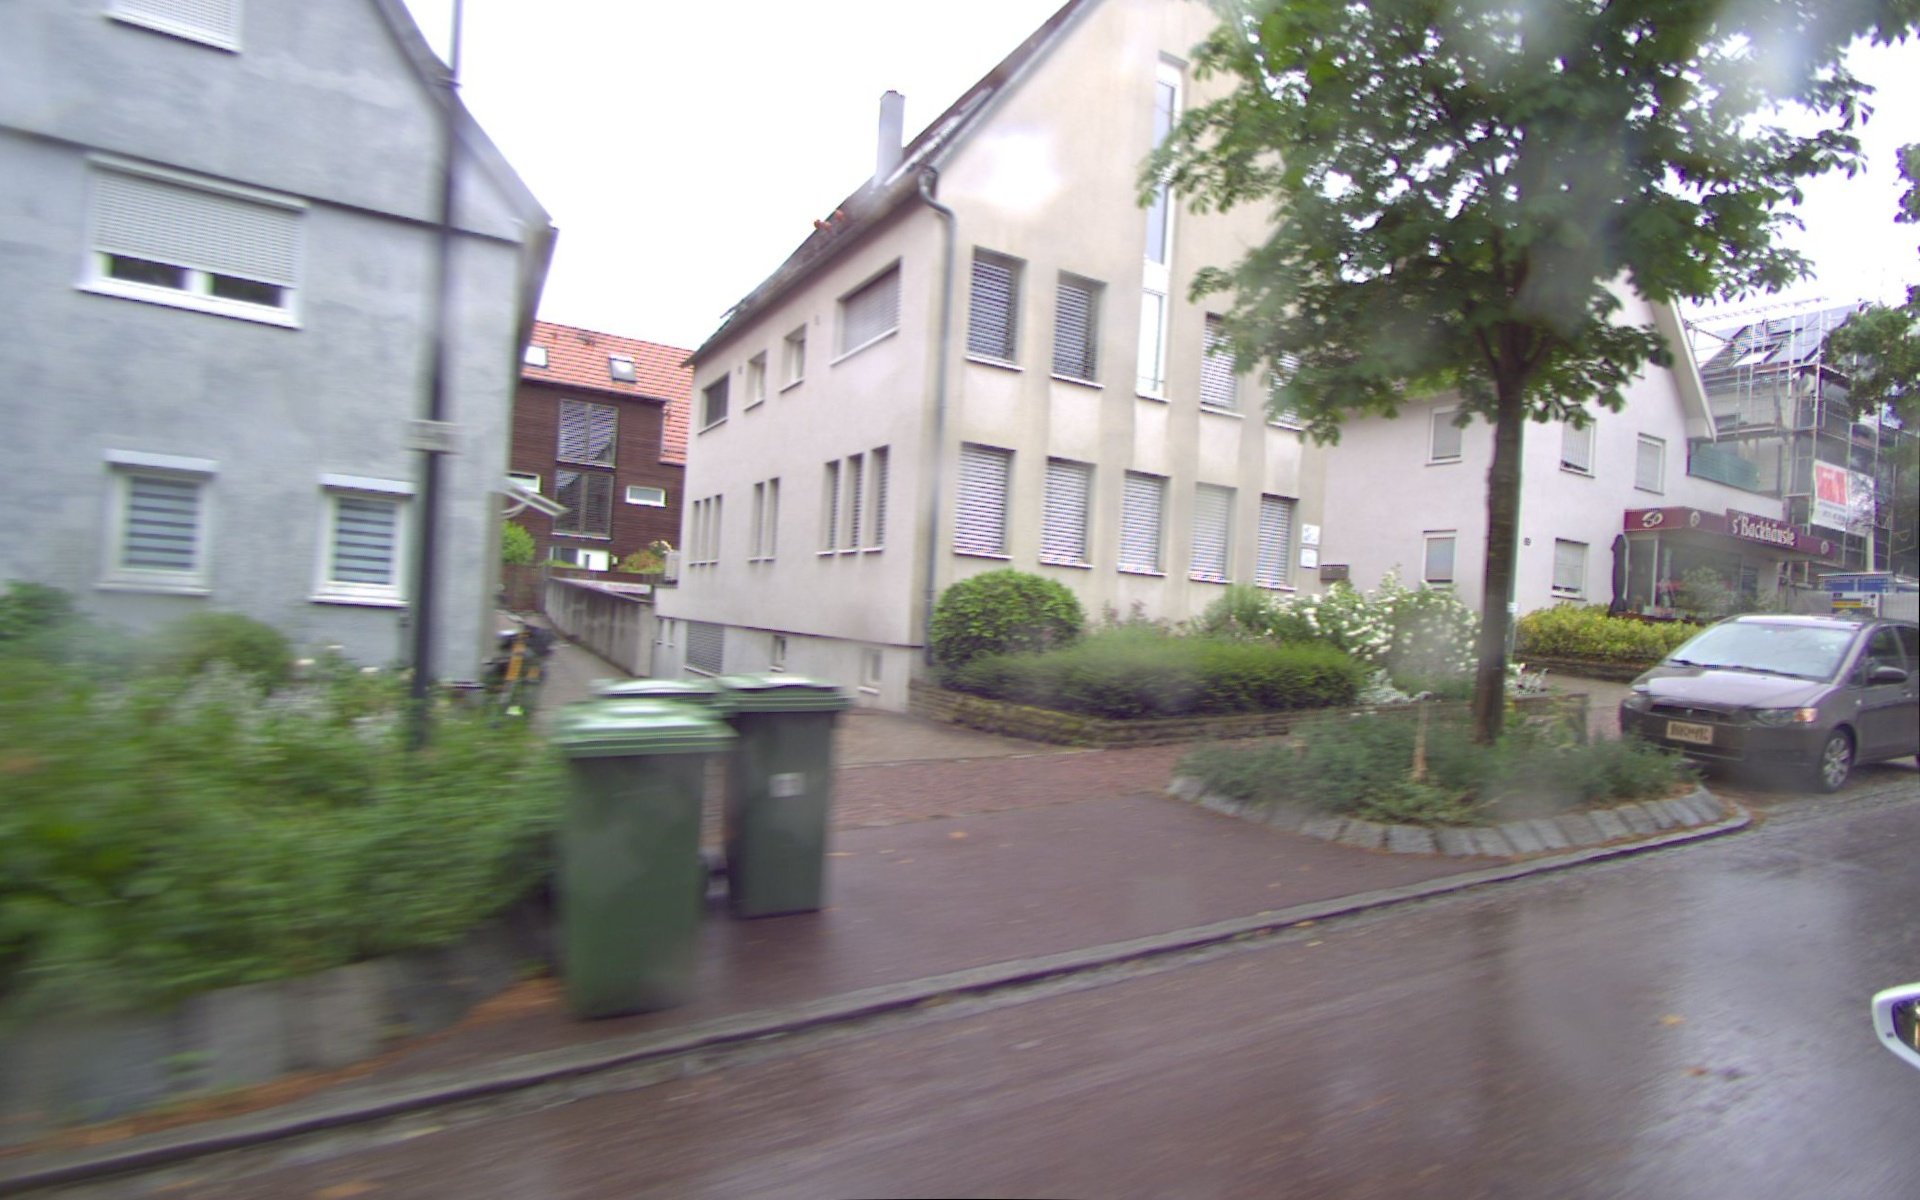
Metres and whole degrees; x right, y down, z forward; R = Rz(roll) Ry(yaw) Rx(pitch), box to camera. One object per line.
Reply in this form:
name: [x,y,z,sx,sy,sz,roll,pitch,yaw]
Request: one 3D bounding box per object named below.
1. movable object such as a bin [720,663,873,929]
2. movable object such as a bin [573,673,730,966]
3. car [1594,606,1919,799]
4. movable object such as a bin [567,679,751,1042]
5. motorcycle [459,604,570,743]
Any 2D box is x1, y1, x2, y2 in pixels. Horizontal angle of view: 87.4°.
movable object such as a bin: [-0.796,0.892,4.832,0.557,1.126,0.608,0,0,-28]
movable object such as a bin: [-1.376,0.913,4.444,0.557,1.126,0.608,0,0,-28]
car: [8.296,0.895,10.019,3.817,1.554,1.640,1,1,-28]
movable object such as a bin: [-1.118,0.882,3.684,0.529,1.126,0.640,0,0,-28]
motorcycle: [-4.430,0.660,9.907,0.808,1.177,1.973,1,0,-29]
